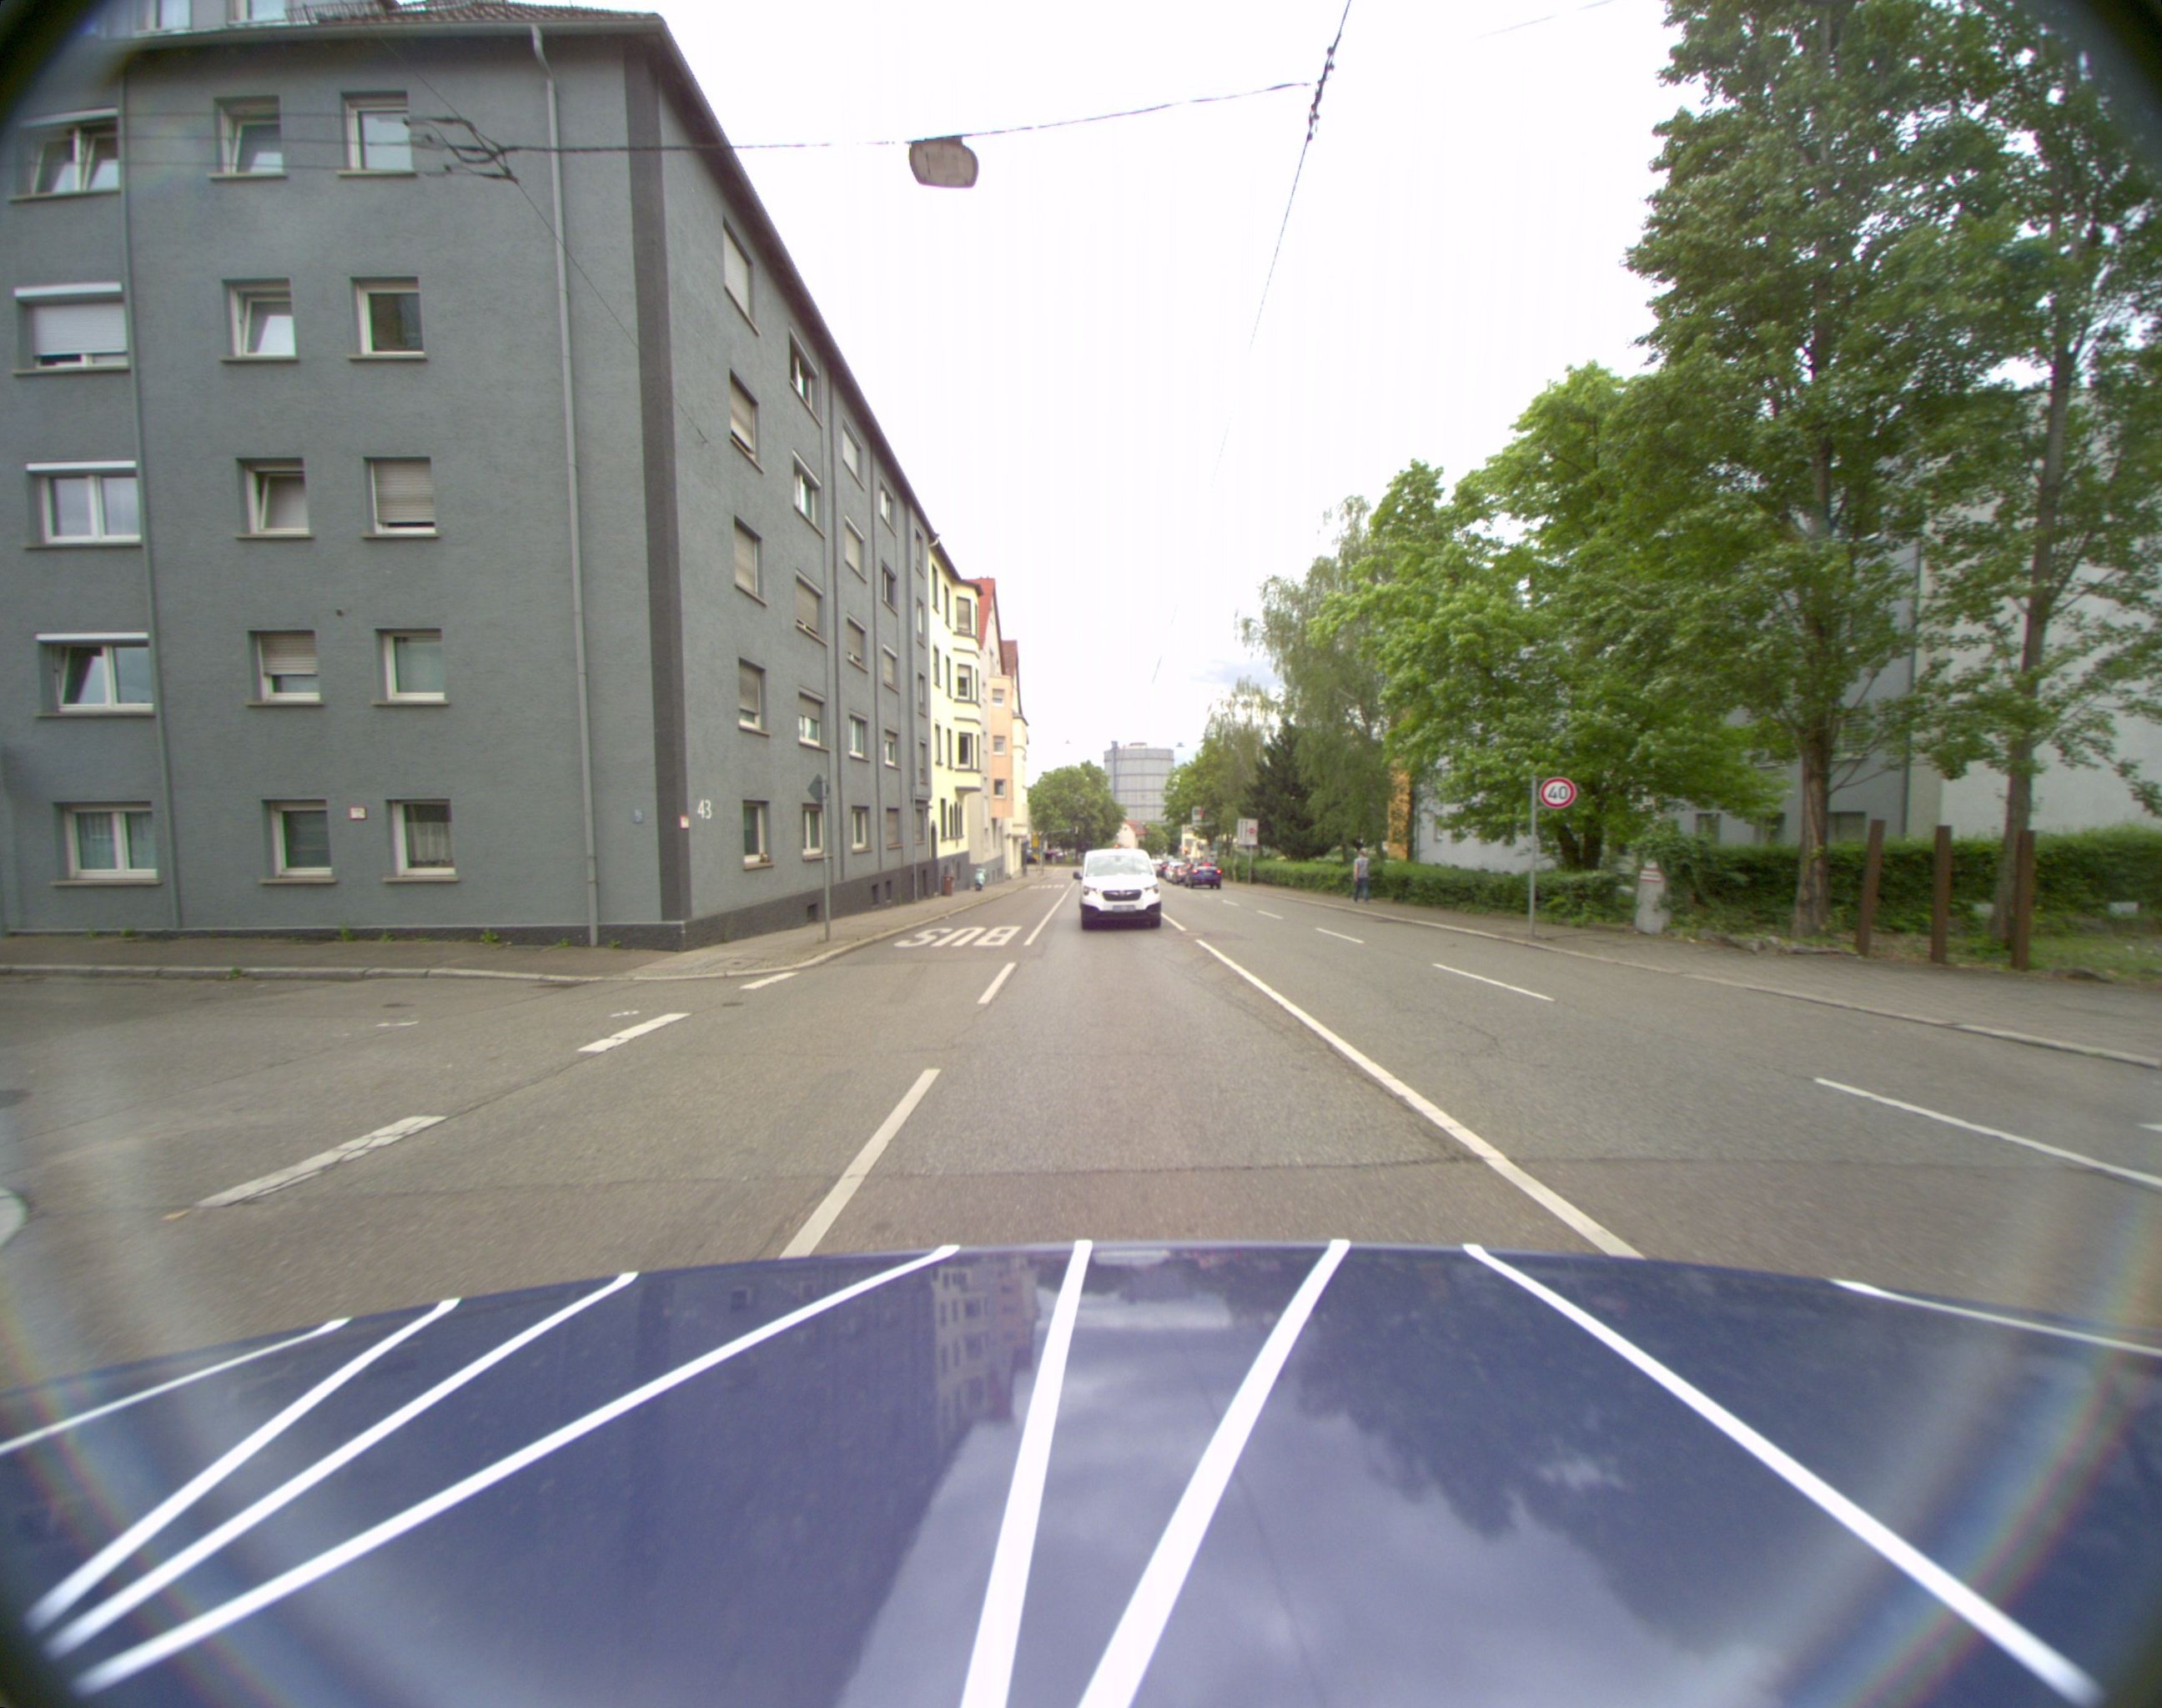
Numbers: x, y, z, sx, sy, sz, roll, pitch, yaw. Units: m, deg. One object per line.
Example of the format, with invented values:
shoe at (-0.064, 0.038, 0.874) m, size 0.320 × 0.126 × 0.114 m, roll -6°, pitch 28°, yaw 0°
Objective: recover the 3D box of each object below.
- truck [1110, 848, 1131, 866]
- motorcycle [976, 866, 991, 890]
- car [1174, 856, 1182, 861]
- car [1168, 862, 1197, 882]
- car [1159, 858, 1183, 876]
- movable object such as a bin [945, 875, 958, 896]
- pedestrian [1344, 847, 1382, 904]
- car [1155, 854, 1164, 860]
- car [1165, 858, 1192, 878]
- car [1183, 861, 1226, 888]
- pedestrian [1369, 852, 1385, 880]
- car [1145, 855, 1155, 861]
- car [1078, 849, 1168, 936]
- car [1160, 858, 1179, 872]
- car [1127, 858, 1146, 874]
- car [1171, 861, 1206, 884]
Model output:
truck at (7.876, 0.534, 151.344) m, size 2.769 × 3.481 × 8.177 m, roll -2°, pitch 0°, yaw 12°
motorcycle at (-5.151, 1.256, 40.223) m, size 0.539 × 1.149 × 2.226 m, roll 2°, pitch 0°, yaw -2°
car at (32.813, 1.391, 256.818) m, size 1.996 × 1.590 × 4.004 m, roll -2°, pitch 0°, yaw 13°
car at (7.828, 1.344, 58.853) m, size 1.843 × 1.404 × 4.074 m, roll 2°, pitch 0°, yaw 2°
car at (8.509, 1.206, 72.128) m, size 1.955 × 1.633 × 4.415 m, roll 2°, pitch 0°, yaw 4°
movable object such as a bin at (-5.654, 1.369, 33.195) m, size 0.476 × 0.887 × 0.517 m, roll 2°, pitch 0°, yaw 0°
pedestrian at (9.823, 0.740, 26.494) m, size 0.884 × 1.938 × 0.867 m, roll -3°, pitch 0°, yaw 1°
car at (22.416, 0.782, 215.911) m, size 1.996 × 1.590 × 4.004 m, roll -2°, pitch 0°, yaw 13°
car at (8.349, 1.203, 65.537) m, size 1.956 × 1.584 × 4.499 m, roll 2°, pitch 0°, yaw 3°
car at (7.157, 1.157, 44.449) m, size 1.843 × 1.439 × 4.311 m, roll 1°, pitch 0°, yaw 1°
pedestrian at (18.863, 0.790, 48.359) m, size 0.724 × 1.743 × 0.794 m, roll -1°, pitch -3°, yaw 6°
car at (17.267, 0.970, 190.110) m, size 1.996 × 1.590 × 4.004 m, roll -2°, pitch 0°, yaw 13°
car at (0.959, 0.822, 18.449) m, size 1.888 × 1.827 × 4.677 m, roll -1°, pitch 0°, yaw 2°
car at (9.194, 1.110, 79.007) m, size 1.805 × 1.274 × 4.238 m, roll 2°, pitch 0°, yaw 6°
car at (5.762, 1.202, 79.046) m, size 1.779 × 1.537 × 4.326 m, roll -3°, pitch 0°, yaw 4°
car at (7.306, 1.240, 52.100) m, size 1.843 × 1.439 × 4.311 m, roll 1°, pitch 0°, yaw 1°
